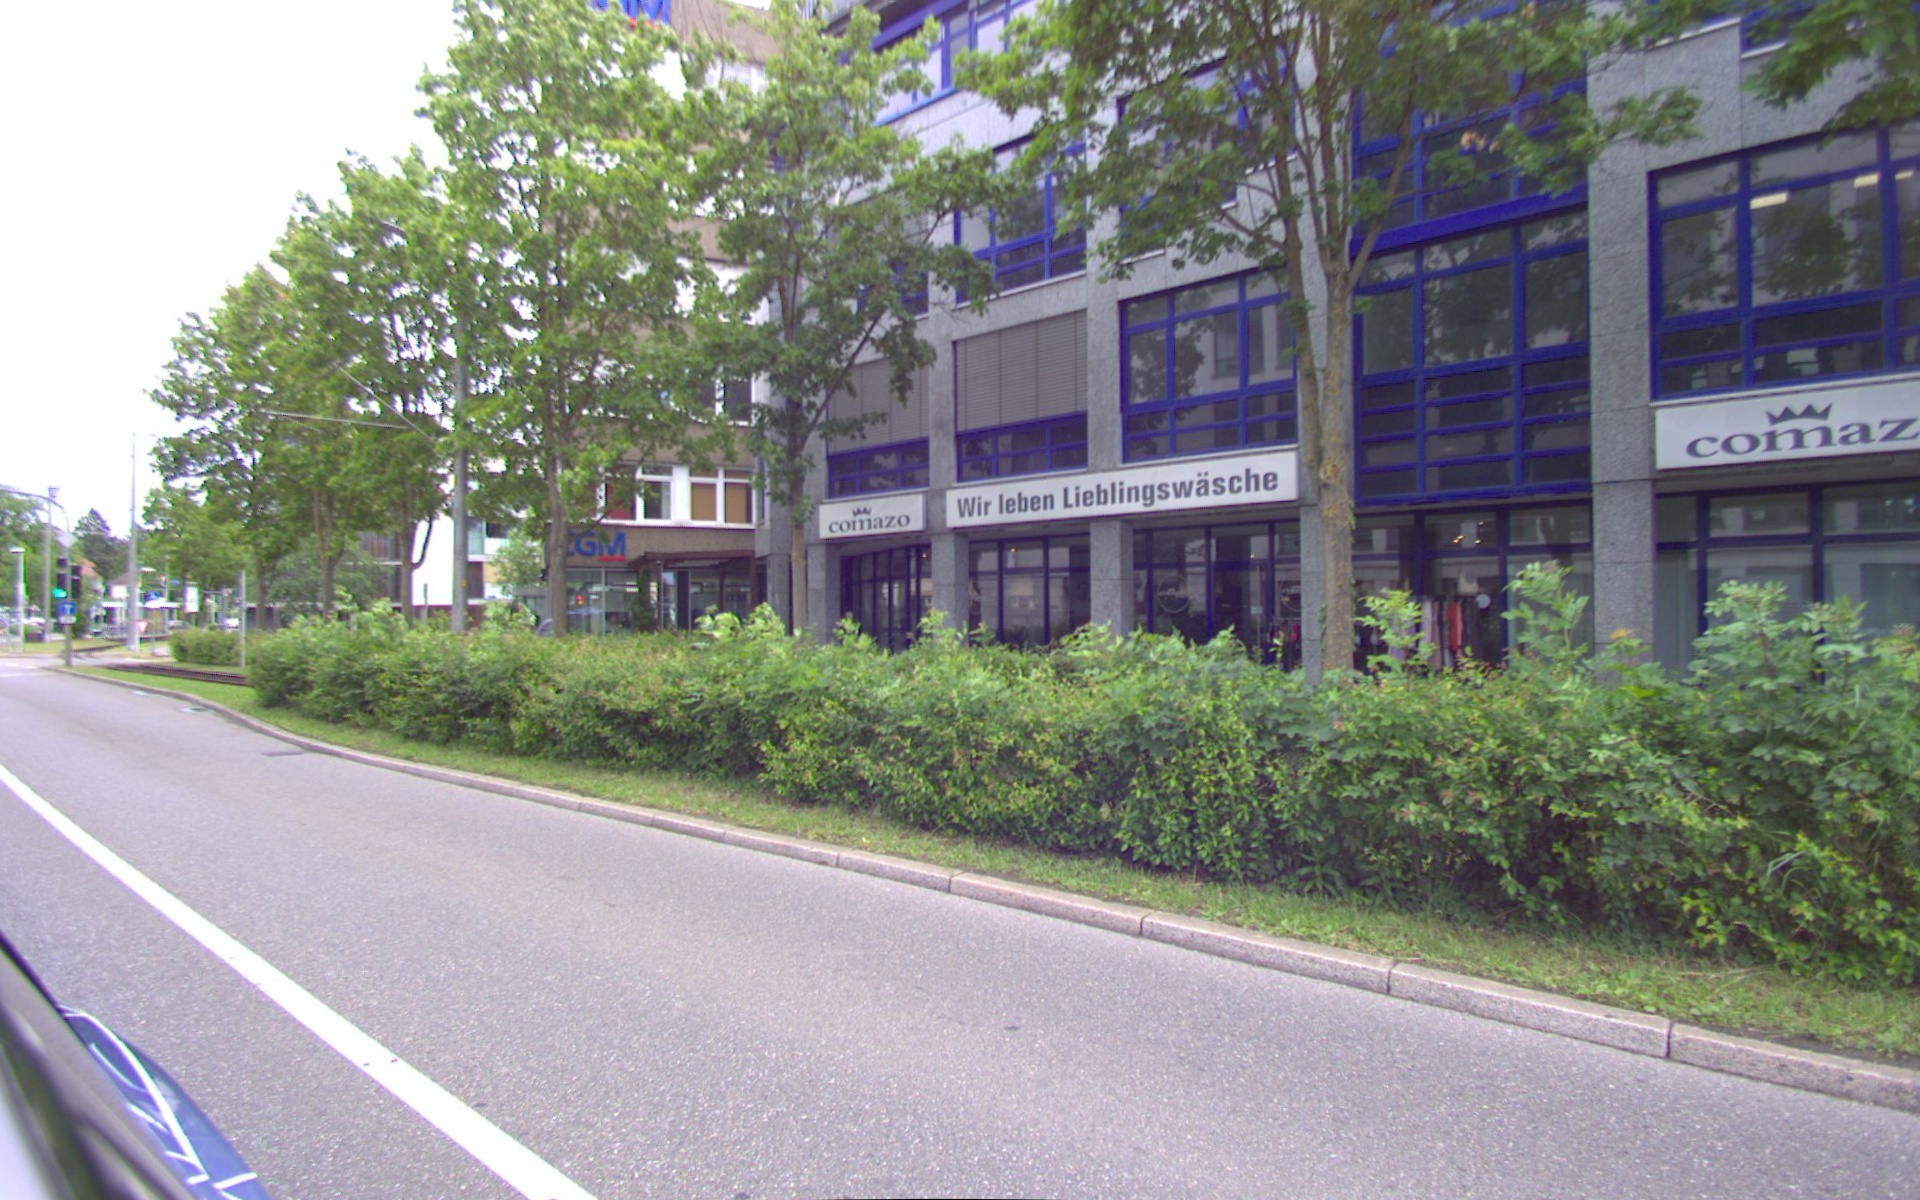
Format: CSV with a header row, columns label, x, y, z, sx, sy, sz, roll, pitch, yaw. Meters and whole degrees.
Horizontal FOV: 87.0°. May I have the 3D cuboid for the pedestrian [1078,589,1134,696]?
label,x,y,z,sx,sy,sz,roll,pitch,yaw
pedestrian,2.684,0.766,18.594,0.731,1.908,0.766,-1,0,40

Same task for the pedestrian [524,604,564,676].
label,x,y,z,sx,sy,sz,roll,pitch,yaw
pedestrian,-10.745,1.026,26.142,0.730,1.819,0.672,-1,0,37

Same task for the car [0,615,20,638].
label,x,y,z,sx,sy,sz,roll,pitch,yaw
car,-89.811,2.484,94.412,1.965,2.029,4.013,0,0,-25
